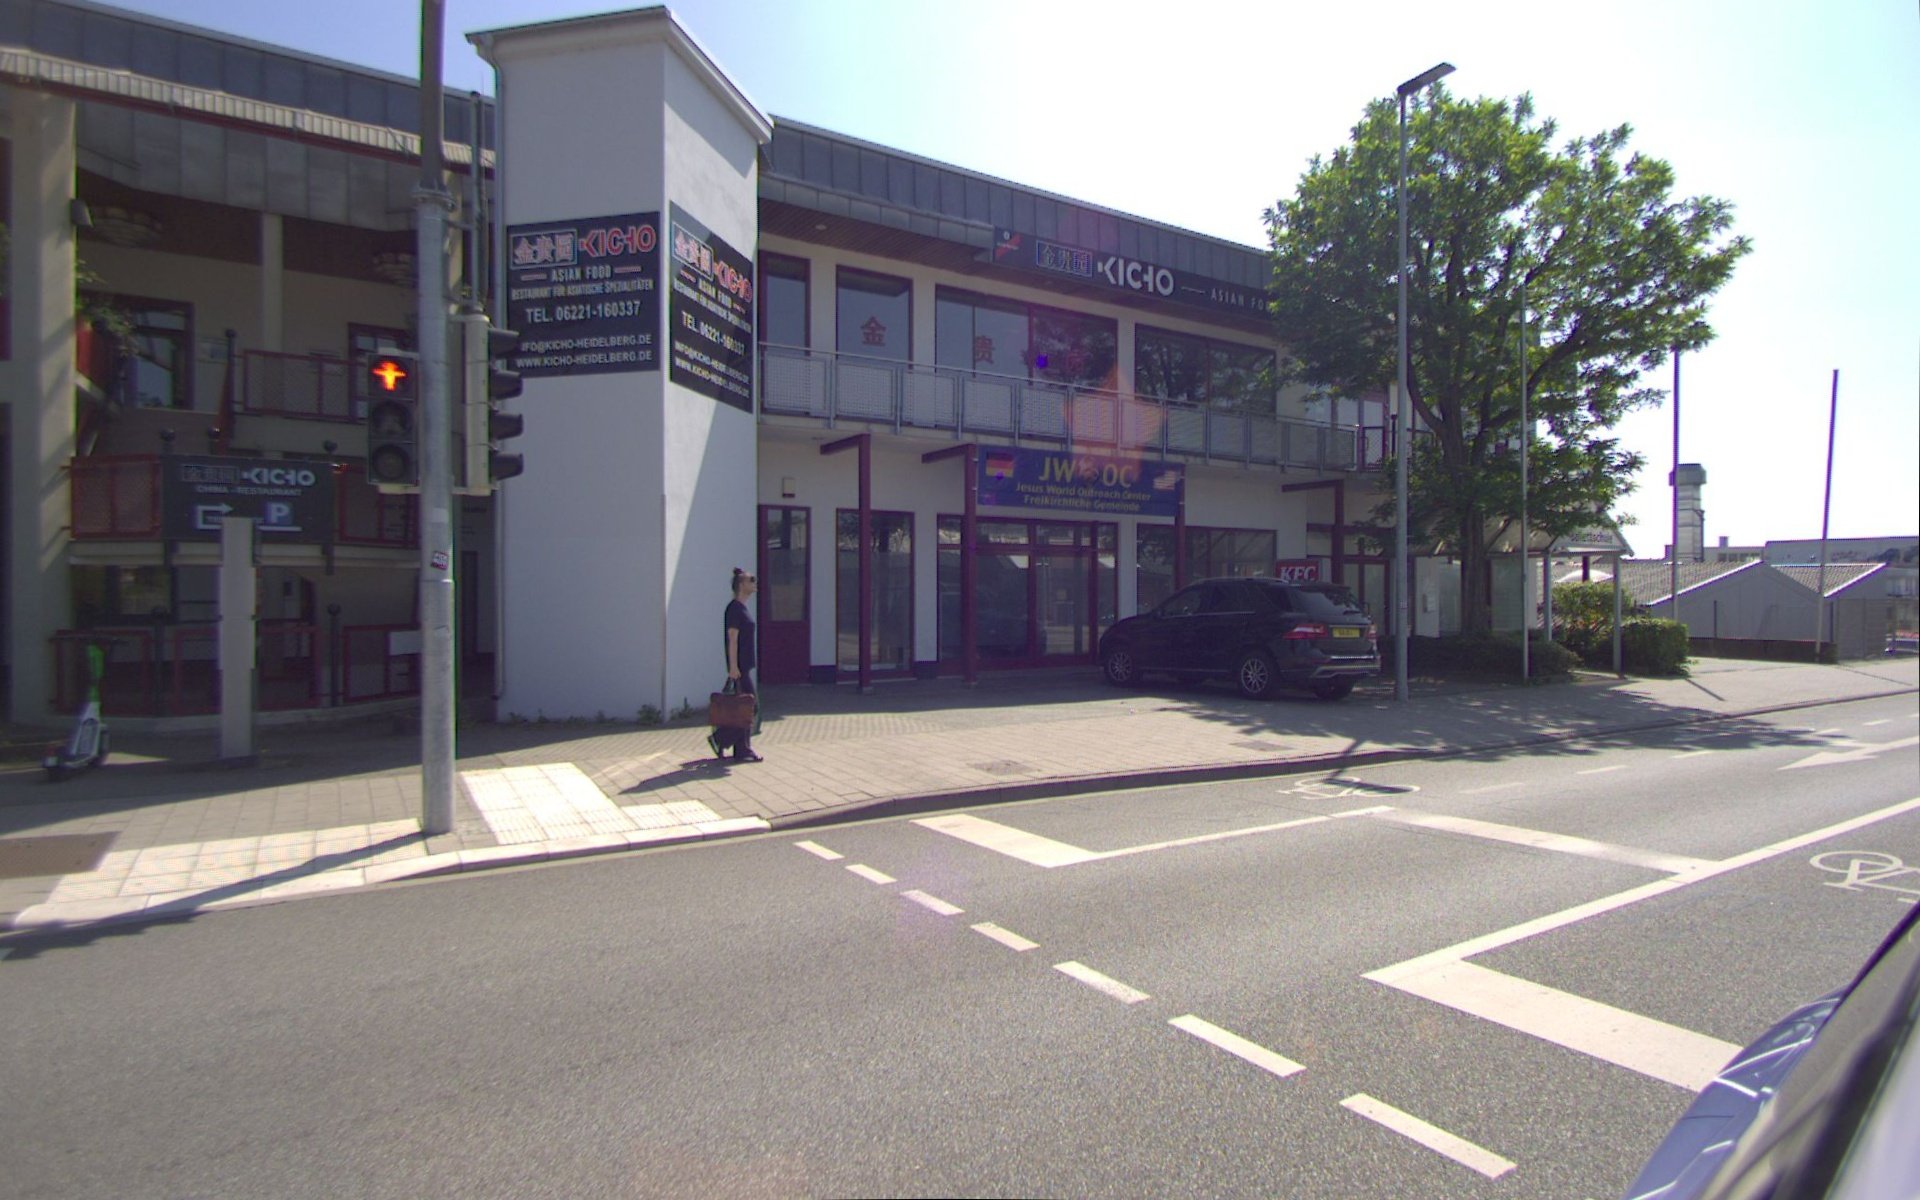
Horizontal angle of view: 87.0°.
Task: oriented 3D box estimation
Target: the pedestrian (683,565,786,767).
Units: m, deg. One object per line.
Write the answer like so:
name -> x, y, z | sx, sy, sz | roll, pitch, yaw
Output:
pedestrian -> -1.937, 0.542, 8.790 | 0.824, 1.666, 0.735 | 0, 0, -10

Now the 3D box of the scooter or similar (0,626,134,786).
scooter or similar -> -7.322, 0.807, 8.277 | 0.490, 1.137, 1.507 | 0, 0, -24

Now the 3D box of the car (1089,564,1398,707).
car -> 4.182, 0.441, 15.737 | 1.773, 1.879, 4.661 | 0, 0, -32
